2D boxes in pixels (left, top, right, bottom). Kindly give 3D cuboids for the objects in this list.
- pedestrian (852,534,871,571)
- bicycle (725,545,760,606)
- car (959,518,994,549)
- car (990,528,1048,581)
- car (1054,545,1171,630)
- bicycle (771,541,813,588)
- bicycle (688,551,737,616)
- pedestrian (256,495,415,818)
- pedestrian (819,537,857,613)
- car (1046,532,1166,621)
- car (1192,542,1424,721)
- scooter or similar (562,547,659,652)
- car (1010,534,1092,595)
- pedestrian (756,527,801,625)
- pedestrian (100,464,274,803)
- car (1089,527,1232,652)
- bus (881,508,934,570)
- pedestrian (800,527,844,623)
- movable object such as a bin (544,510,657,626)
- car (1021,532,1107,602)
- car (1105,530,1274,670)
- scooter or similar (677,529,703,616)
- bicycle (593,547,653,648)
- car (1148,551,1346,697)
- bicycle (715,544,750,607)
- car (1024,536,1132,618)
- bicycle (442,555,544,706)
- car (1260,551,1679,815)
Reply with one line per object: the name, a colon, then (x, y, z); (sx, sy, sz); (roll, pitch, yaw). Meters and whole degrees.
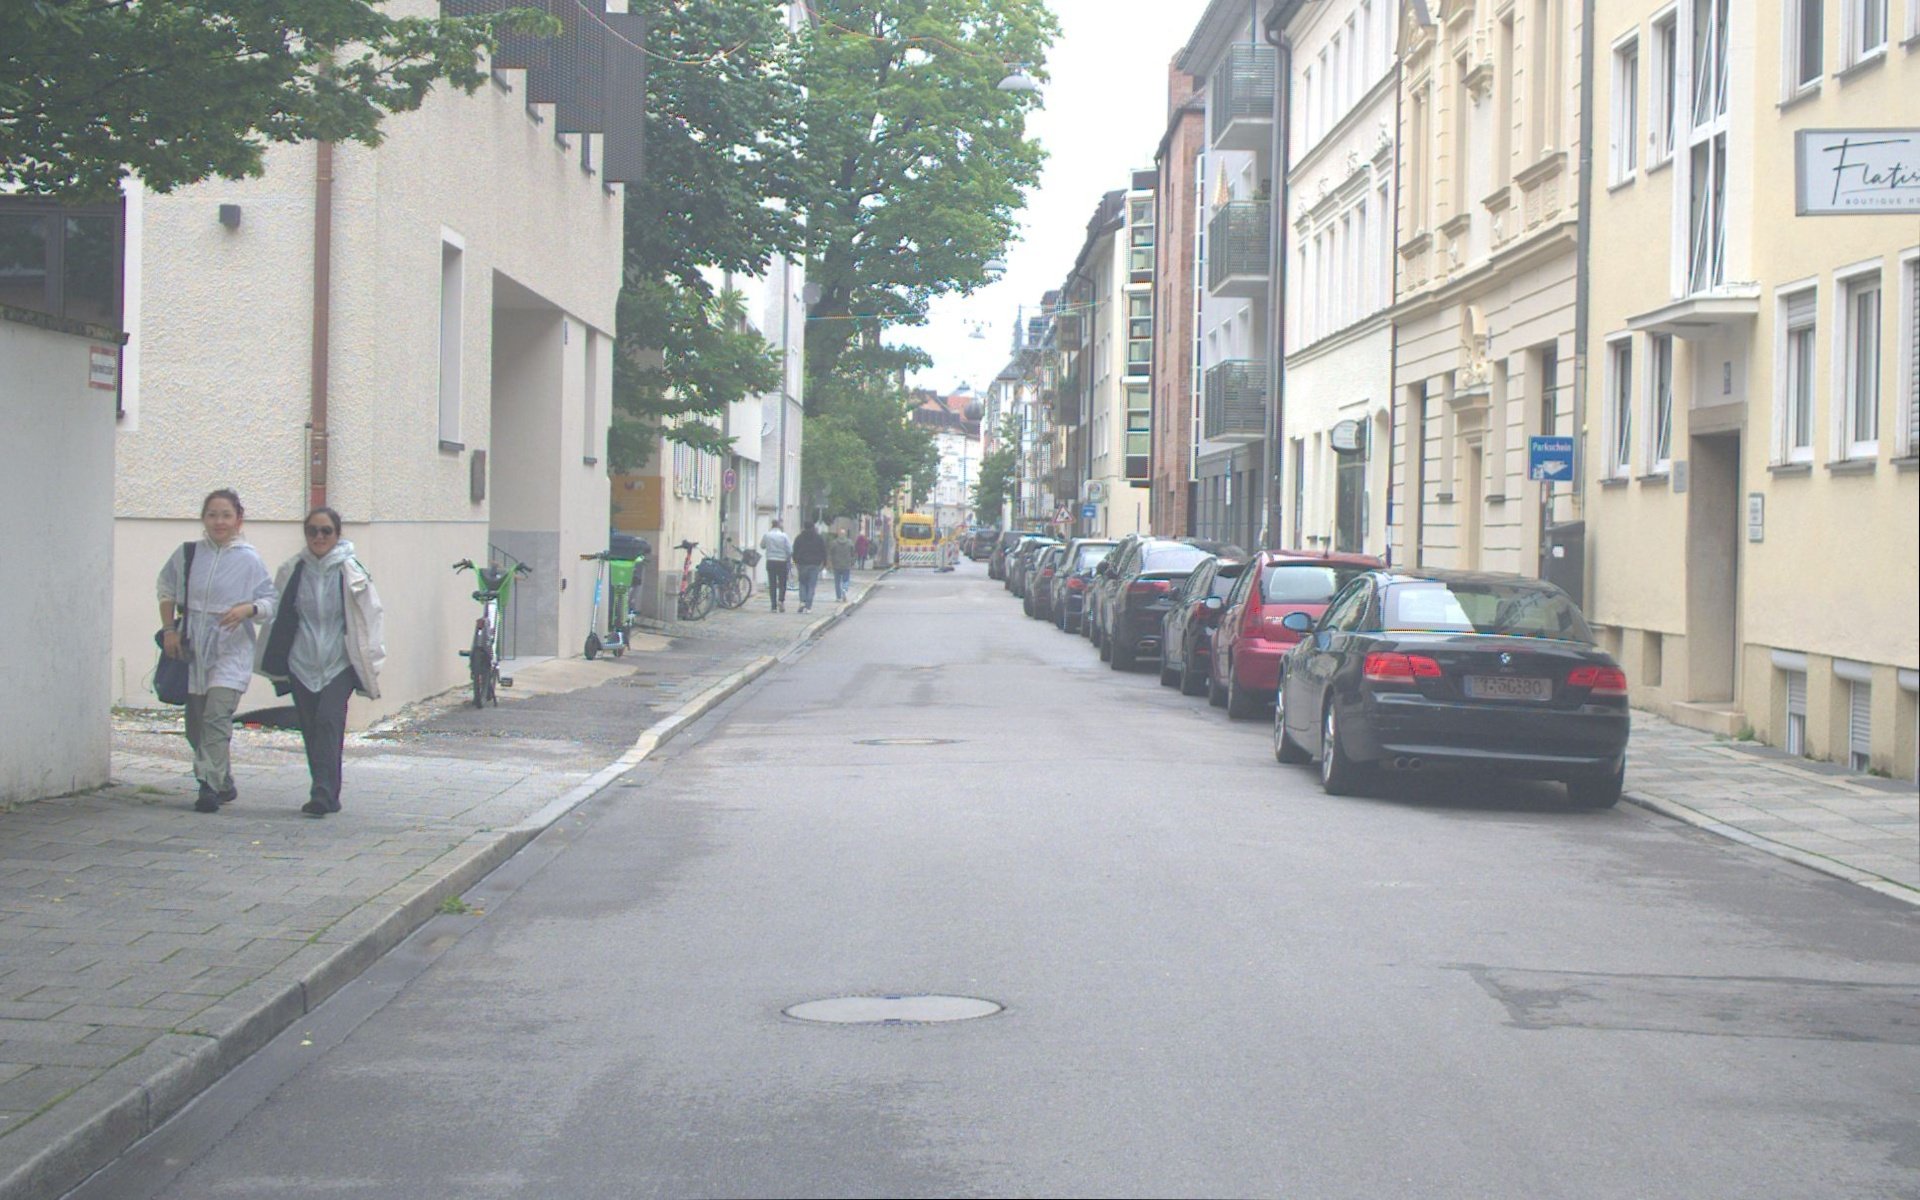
pedestrian: (-3.965, -1.930, 138.630); (0.756, 1.486, 0.831); (0, 0, 0)
bicycle: (-4.192, -0.479, 66.160); (0.561, 1.155, 1.721); (1, 1, -6)
car: (0.991, -4.034, 207.261); (1.801, 1.706, 3.827); (5, 1, -2)
car: (2.202, -1.743, 129.355); (1.801, 1.814, 4.001); (5, 1, -2)
car: (2.547, -0.238, 58.207); (1.808, 1.358, 3.945); (0, 1, 0)
bicycle: (-4.372, -0.918, 89.123); (0.641, 1.213, 1.665); (0, 1, -19)
bicycle: (-4.065, -0.273, 56.303); (0.703, 0.981, 1.823); (5, 0, -5)
pedestrian: (-3.143, 0.276, 17.339); (0.622, 1.573, 0.714); (2, 0, -1)
pedestrian: (-2.758, -0.564, 77.658); (0.753, 1.653, 0.906); (3, 0, 0)
car: (2.647, -0.450, 63.125); (1.875, 1.565, 4.317); (0, 1, -2)
car: (3.129, 0.238, 31.560); (1.676, 1.487, 3.854); (1, 1, -1)
scooter or similar: (-3.975, -0.003, 39.171); (0.552, 1.140, 1.357); (4, 1, 16)
car: (2.417, -0.982, 92.598); (1.885, 1.550, 4.392); (2, 1, -2)
pedestrian: (-3.400, -0.460, 64.403); (0.718, 1.790, 0.917); (3, 0, 0)
pedestrian: (-3.831, 0.158, 17.083); (0.613, 1.615, 0.687); (4, 1, 0)
car: (2.787, -0.187, 48.526); (1.676, 1.655, 4.513); (1, 1, -1)
bus: (-2.672, -3.087, 175.052); (2.593, 3.091, 6.306); (0, 1, 0)
pedestrian: (-2.590, -0.468, 64.509); (0.718, 1.759, 0.838); (3, 0, 0)
movable object such as a bin: (-4.876, -0.447, 46.701); (1.174, 1.437, 1.248); (6, 2, 6)
car: (2.393, -0.786, 79.889); (1.775, 1.550, 4.000); (2, 1, -1)
car: (2.797, -0.050, 42.768); (1.702, 1.601, 4.685); (1, 1, -1)
scooter or similar: (-4.282, -0.440, 54.568); (0.317, 1.371, 1.239); (0, 1, 0)
bicycle: (-4.035, -0.042, 41.236); (0.544, 1.157, 1.882); (3, 1, -2)
car: (2.955, 0.207, 36.153); (1.676, 1.388, 4.066); (1, 1, -1)
bicycle: (-4.260, -0.461, 64.444); (0.458, 1.155, 1.605); (3, 1, 1)
car: (2.297, -0.483, 68.011); (1.839, 1.523, 4.293); (2, 1, -1)
bicycle: (-3.734, 0.222, 27.595); (0.538, 1.135, 1.917); (3, 1, -1)
car: (3.099, 0.442, 21.844); (1.825, 1.330, 4.509); (5, 1, -1)
